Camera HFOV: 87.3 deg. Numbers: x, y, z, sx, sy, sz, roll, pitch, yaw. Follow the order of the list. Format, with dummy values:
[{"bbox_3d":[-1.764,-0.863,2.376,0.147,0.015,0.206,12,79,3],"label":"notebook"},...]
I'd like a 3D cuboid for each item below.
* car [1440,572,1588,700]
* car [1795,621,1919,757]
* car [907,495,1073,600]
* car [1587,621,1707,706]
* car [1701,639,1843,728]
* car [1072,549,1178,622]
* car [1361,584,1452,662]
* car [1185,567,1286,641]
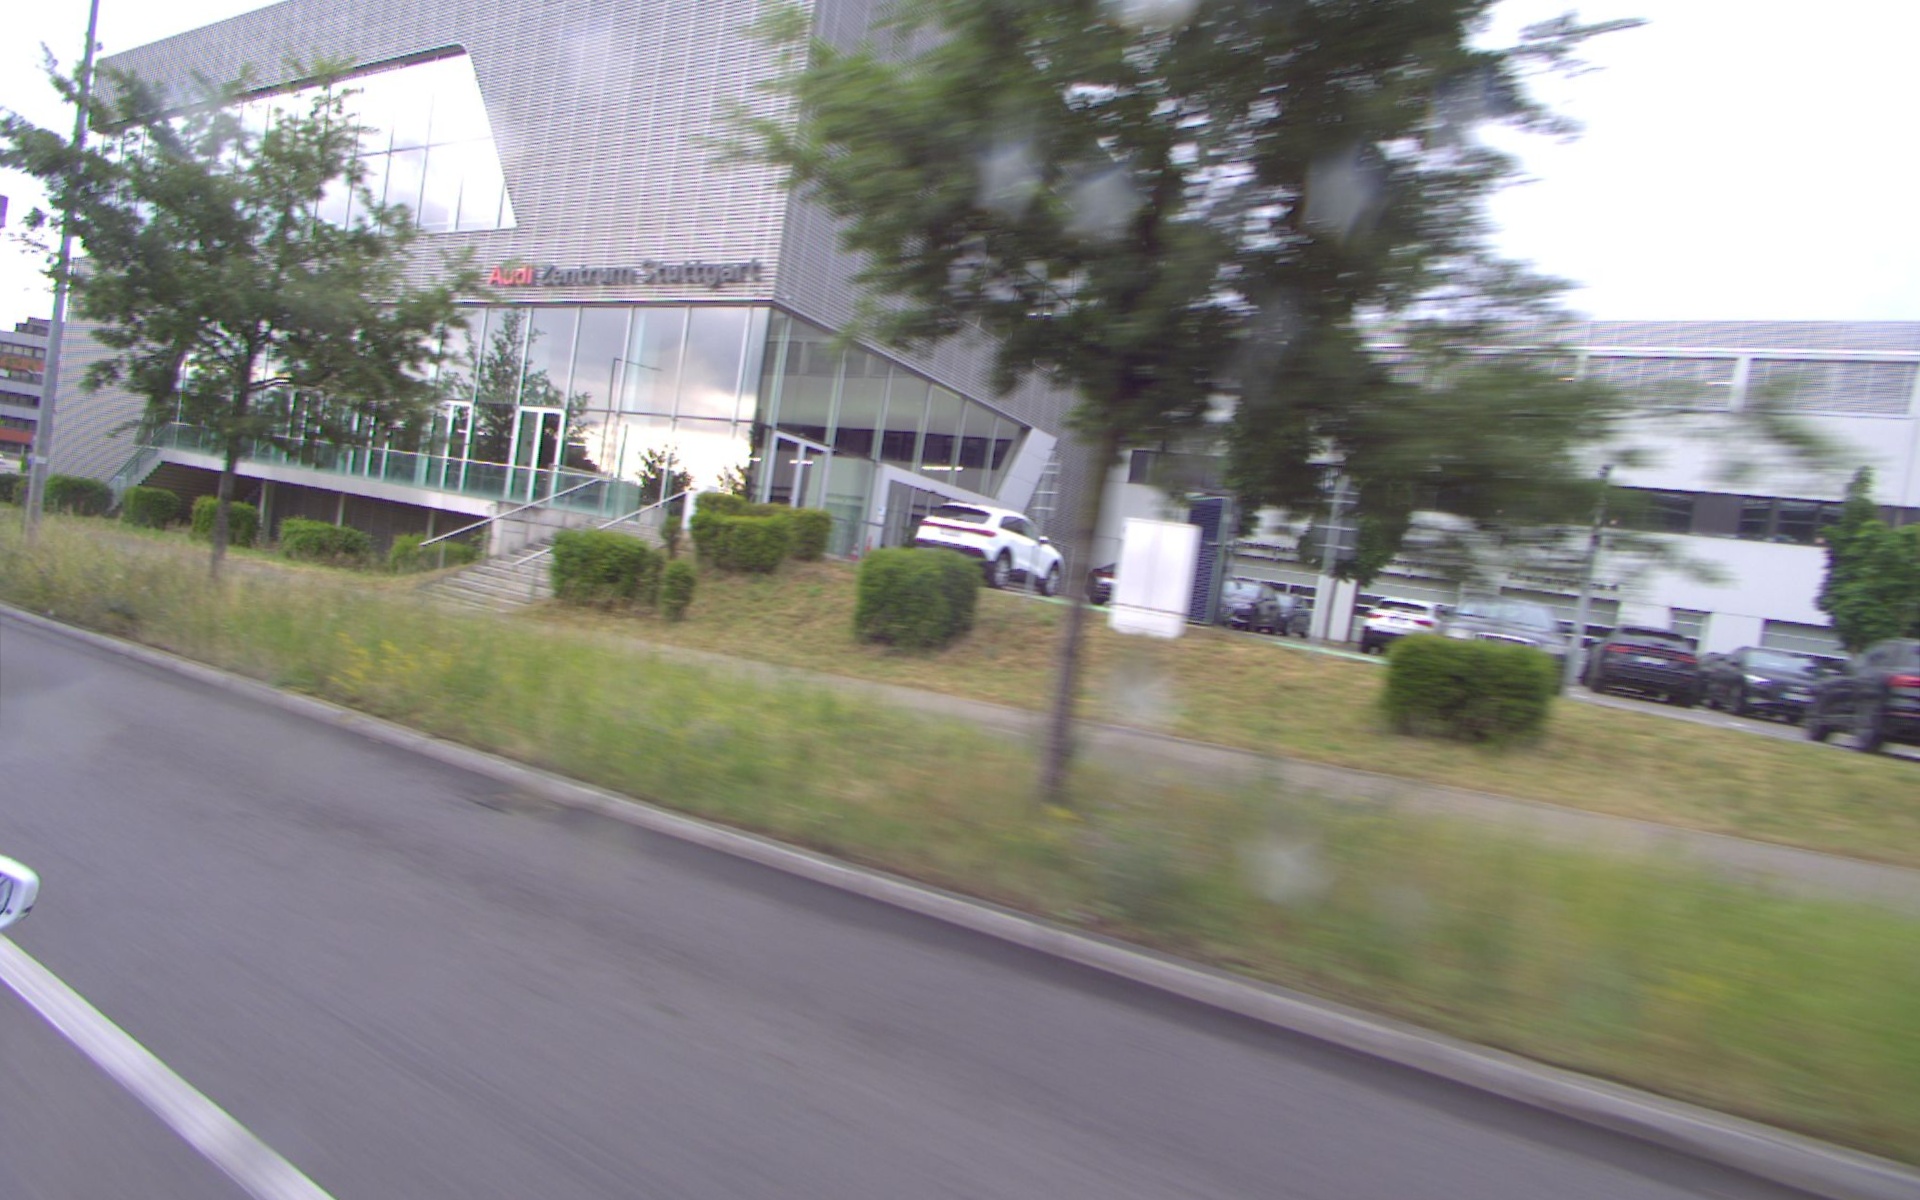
[{"bbox_3d":[8.913,0.671,16.198,1.664,1.592,4.430,8,-1,30],"label":"car"},{"bbox_3d":[13.030,1.322,13.704,1.664,1.592,4.114,8,-1,30],"label":"car"},{"bbox_3d":[0.770,-1.069,21.949,1.664,1.592,4.268,8,-1,30],"label":"car"},{"bbox_3d":[16.059,1.549,23.707,1.795,1.592,4.114,8,-1,30],"label":"car"},{"bbox_3d":[18.264,1.877,22.829,1.664,1.593,4.112,8,0,30],"label":"car"},{"bbox_3d":[5.038,-0.393,30.241,1.664,1.592,4.114,8,-1,30],"label":"car"},{"bbox_3d":[12.015,0.667,26.945,1.664,1.592,4.114,8,-1,30],"label":"car"},{"bbox_3d":[8.115,0.166,29.364,1.729,1.592,4.114,8,-1,30],"label":"car"}]
